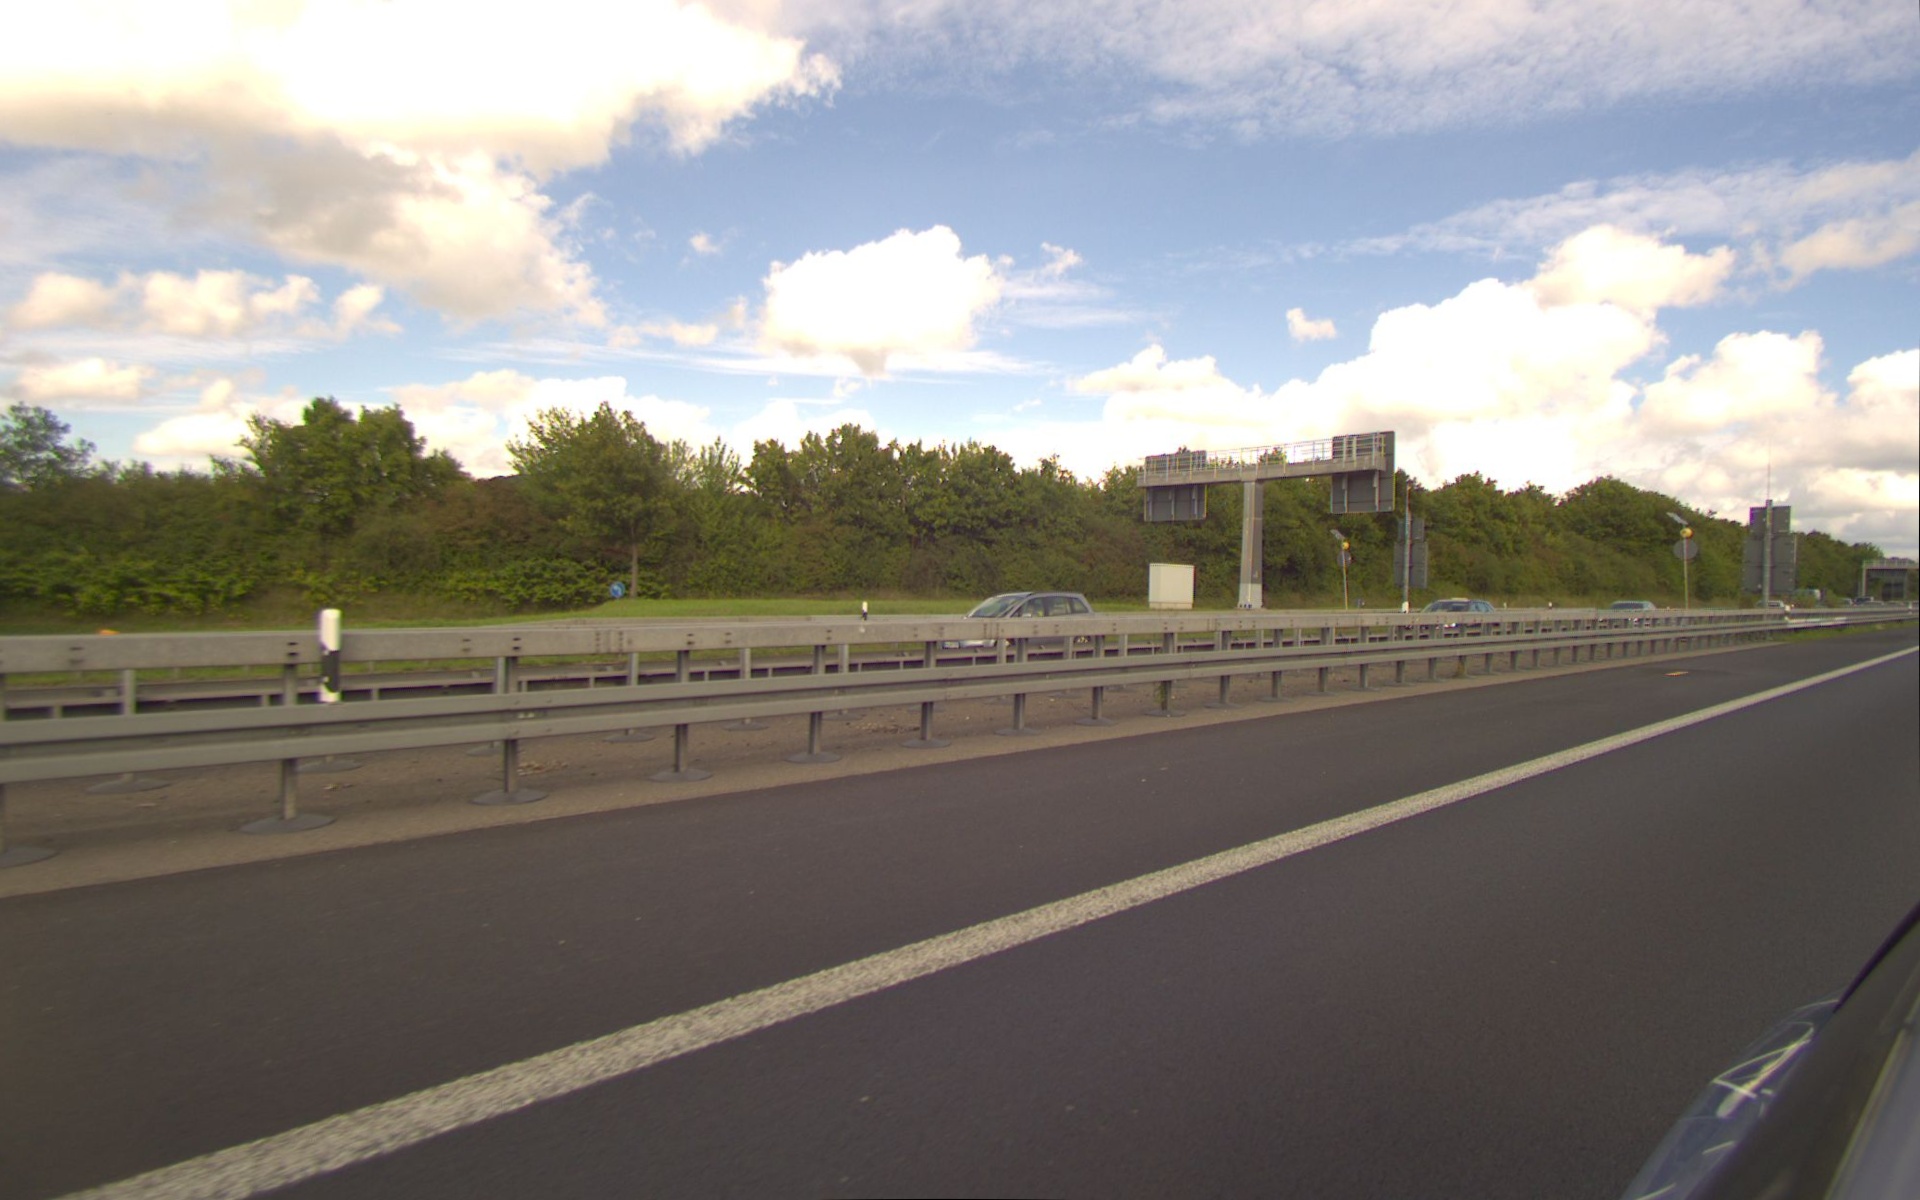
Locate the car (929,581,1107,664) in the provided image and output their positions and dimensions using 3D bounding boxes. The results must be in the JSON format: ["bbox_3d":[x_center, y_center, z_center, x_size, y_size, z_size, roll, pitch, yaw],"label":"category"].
[{"bbox_3d":[1.429,0.460,23.999,3.931,1.729,1.997,0,3,-42],"label":"car"}]

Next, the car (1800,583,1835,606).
[{"bbox_3d":[84.883,-0.551,100.135,5.041,2.213,1.996,0,1,-43],"label":"car"}]

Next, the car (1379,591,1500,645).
[{"bbox_3d":[14.647,0.482,30.845,3.932,1.503,1.996,0,2,-43],"label":"car"}]
